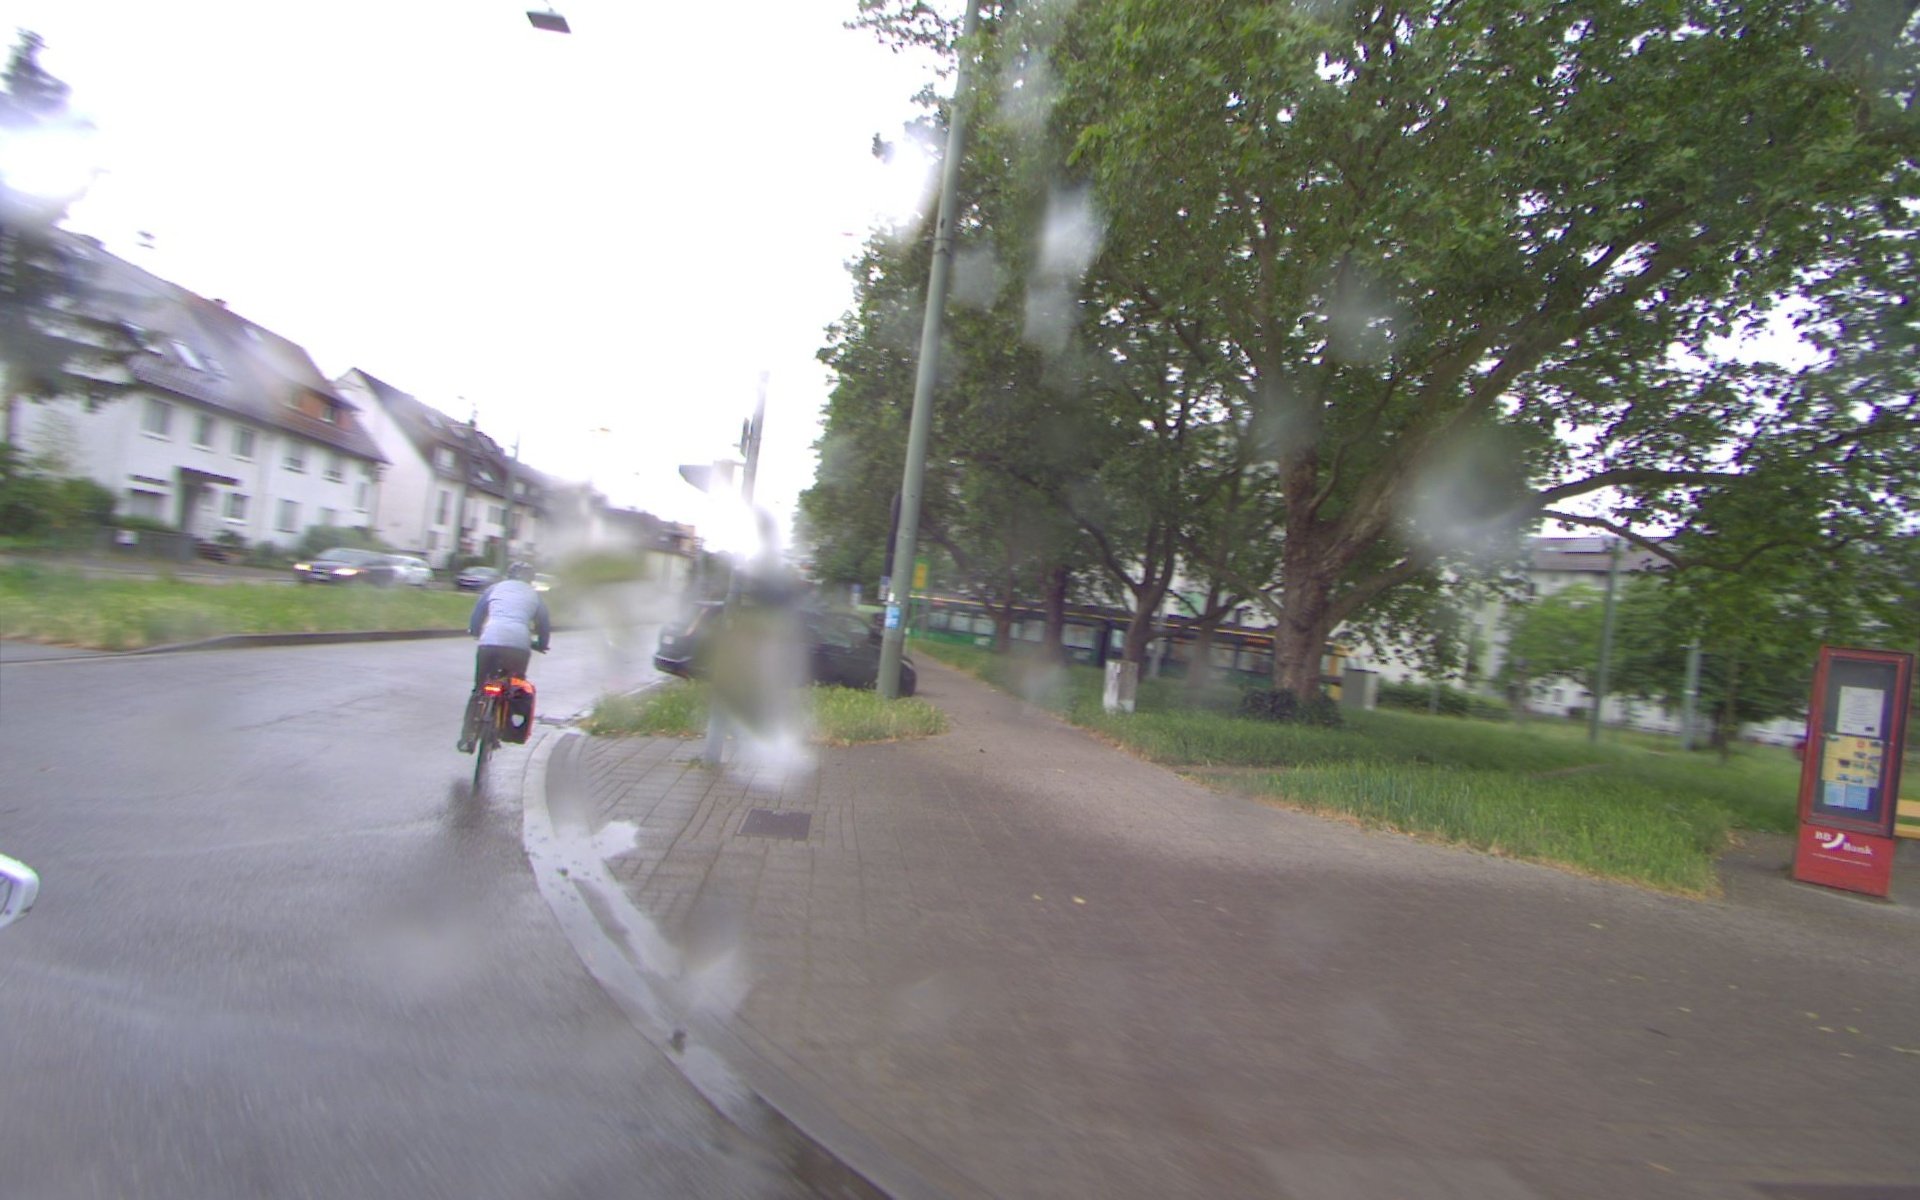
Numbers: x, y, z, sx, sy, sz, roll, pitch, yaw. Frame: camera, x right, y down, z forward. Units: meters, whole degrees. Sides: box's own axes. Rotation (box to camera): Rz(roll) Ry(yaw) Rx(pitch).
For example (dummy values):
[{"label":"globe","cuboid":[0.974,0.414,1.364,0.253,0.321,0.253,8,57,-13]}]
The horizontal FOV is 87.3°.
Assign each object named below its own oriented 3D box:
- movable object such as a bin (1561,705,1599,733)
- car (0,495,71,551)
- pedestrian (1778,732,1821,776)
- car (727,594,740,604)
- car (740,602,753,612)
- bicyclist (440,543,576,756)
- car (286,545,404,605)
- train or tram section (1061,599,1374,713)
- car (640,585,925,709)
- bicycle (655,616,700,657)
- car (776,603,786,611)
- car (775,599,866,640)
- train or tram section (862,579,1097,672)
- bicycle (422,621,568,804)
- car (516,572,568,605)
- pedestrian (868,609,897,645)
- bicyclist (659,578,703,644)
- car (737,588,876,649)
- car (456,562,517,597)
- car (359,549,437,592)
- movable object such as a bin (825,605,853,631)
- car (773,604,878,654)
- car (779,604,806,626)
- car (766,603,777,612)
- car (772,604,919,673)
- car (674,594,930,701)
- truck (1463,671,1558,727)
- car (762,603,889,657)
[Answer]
[{"label":"movable object such as a bin","cuboid":[54.147,10.391,87.859,2.216,2.036,1.889,9,-3,-32]},{"label":"car","cuboid":[-30.588,-2.479,31.665,1.966,1.585,3.886,8,2,-8]},{"label":"pedestrian","cuboid":[40.116,7.328,48.074,1.168,1.904,1.055,6,-3,22]},{"label":"car","cuboid":[-43.333,-0.181,192.512,1.965,1.560,4.001,7,-3,-6]},{"label":"car","cuboid":[-42.318,1.411,199.476,1.965,1.724,4.001,7,-3,-6]},{"label":"bicyclist","cuboid":[-3.480,0.367,7.818,0.743,1.504,0.842,7,1,-20]},{"label":"car","cuboid":[-20.858,-0.794,34.318,1.712,1.502,4.001,7,-3,-6]},{"label":"train or tram section","cuboid":[11.887,2.496,48.508,14.522,3.630,2.707,6,-3,39]},{"label":"car","cuboid":[-2.839,0.807,16.537,4.144,1.493,1.786,9,-1,-38]},{"label":"bicycle","cuboid":[-7.199,0.924,25.736,0.810,0.923,1.983,7,-2,-10]},{"label":"car","cuboid":[-44.657,1.860,250.543,1.965,1.560,4.001,7,-3,-6]},{"label":"car","cuboid":[-6.986,1.004,50.569,3.969,1.501,1.978,8,0,-39]},{"label":"train or tram section","cuboid":[0.723,1.312,57.676,14.522,3.630,2.707,6,-3,39]},{"label":"bicycle","cuboid":[-3.513,0.798,7.764,0.744,1.086,1.918,7,0,-20]},{"label":"car","cuboid":[-23.615,-0.600,56.934,1.578,1.439,3.821,7,-3,-7]},{"label":"pedestrian","cuboid":[-4.054,1.430,52.798,1.034,1.734,1.074,7,-1,-24]},{"label":"bicyclist","cuboid":[-7.118,0.286,25.694,0.819,1.576,0.913,7,-1,-10]},{"label":"car","cuboid":[-4.938,0.623,32.633,3.976,1.571,1.937,8,-3,-44]},{"label":"car","cuboid":[-26.514,-1.088,56.529,1.578,1.439,4.667,7,-4,-7]},{"label":"car","cuboid":[-25.455,-1.290,45.728,1.578,1.439,3.944,7,-4,-7]},{"label":"movable object such as a bin","cuboid":[-9.381,1.395,77.749,1.538,1.724,1.489,7,-1,-31]},{"label":"car","cuboid":[-5.129,1.124,38.460,3.563,1.498,1.623,6,-1,-34]},{"label":"car","cuboid":[-13.374,1.211,80.409,1.927,1.571,3.997,6,-2,-8]},{"label":"car","cuboid":[-42.073,1.673,224.809,1.965,1.560,4.001,7,-3,-6]},{"label":"car","cuboid":[-3.037,1.055,27.000,3.493,1.524,1.734,7,-2,-43]},{"label":"car","cuboid":[-2.998,0.961,19.600,4.512,1.493,1.786,9,-1,-37]},{"label":"truck","cuboid":[40.446,7.211,74.185,3.141,3.511,7.161,7,-3,4]},{"label":"car","cuboid":[-4.791,1.107,36.207,4.090,1.498,1.846,7,-1,-40]}]
